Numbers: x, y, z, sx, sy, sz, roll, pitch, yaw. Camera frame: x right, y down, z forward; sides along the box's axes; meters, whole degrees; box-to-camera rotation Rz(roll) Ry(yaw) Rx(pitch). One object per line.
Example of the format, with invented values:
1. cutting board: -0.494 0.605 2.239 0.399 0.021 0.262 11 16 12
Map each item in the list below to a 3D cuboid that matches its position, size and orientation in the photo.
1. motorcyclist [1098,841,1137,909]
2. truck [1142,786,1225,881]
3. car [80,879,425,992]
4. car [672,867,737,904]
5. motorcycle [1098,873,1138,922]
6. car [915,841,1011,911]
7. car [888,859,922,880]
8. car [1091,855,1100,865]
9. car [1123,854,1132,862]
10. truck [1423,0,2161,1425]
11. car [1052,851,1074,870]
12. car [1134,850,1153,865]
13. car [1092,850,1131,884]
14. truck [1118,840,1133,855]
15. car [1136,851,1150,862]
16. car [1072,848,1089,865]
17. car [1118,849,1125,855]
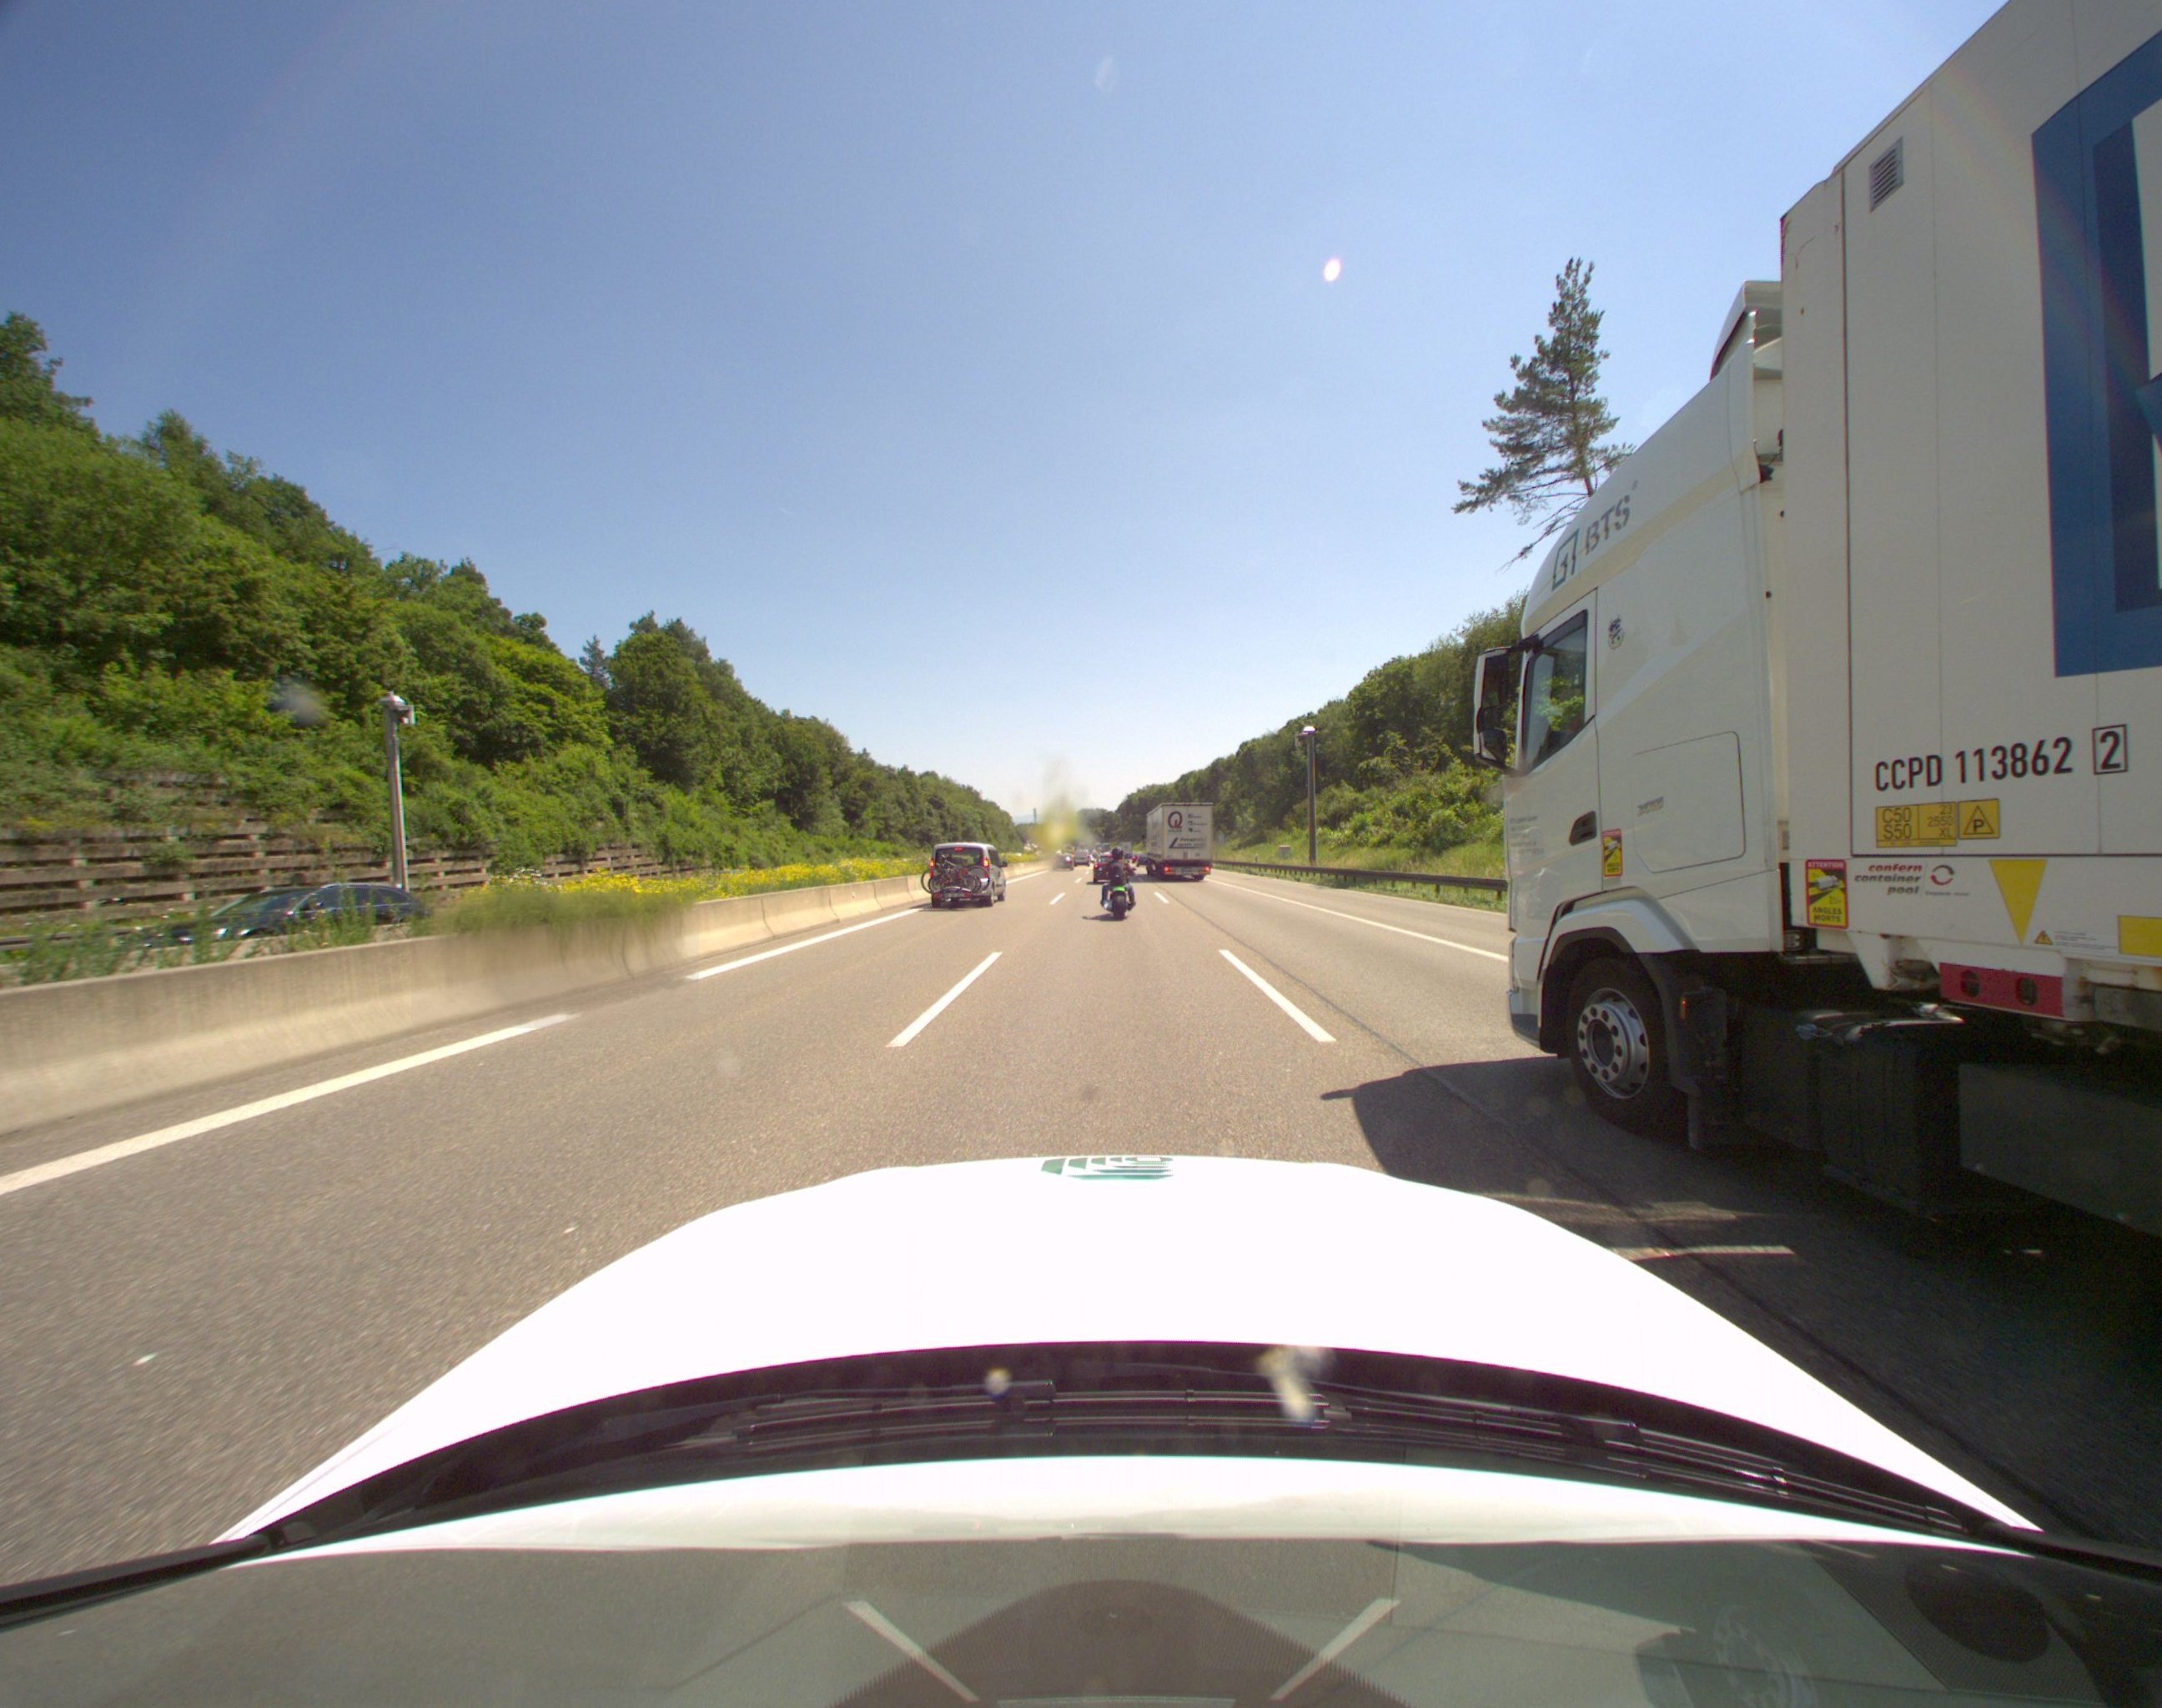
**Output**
1. motorcyclist: 0.839 0.478 18.818 0.852 1.515 0.914 -1 0 2
2. truck: 5.800 -1.178 49.555 3.370 4.717 17.718 1 1 2
3. car: -14.438 1.312 14.625 1.782 1.522 4.204 -2 0 1
4. car: -17.389 1.442 37.722 1.434 1.522 3.154 -2 0 1
5. motorcycle: 0.852 0.974 18.854 0.859 0.982 2.132 -1 0 3
6. car: -3.355 0.544 24.275 1.891 1.847 5.485 0 1 2
7. car: -15.829 1.398 73.341 1.803 1.807 4.505 1 -1 3
8. car: 2.995 1.208 166.941 1.824 1.810 4.122 0 1 1
9. car: 9.420 0.744 165.465 1.824 1.558 4.122 0 1 1
10. truck: 3.910 -0.645 1.270 2.669 4.059 10.632 0 1 2
11. car: -1.559 0.573 72.048 1.751 1.543 4.397 0 1 1
12. car: 6.656 0.352 86.773 1.824 1.558 4.122 0 1 1
13. car: 1.510 0.604 40.782 1.838 1.557 4.441 0 1 1
14. truck: 10.175 -1.451 187.431 3.056 3.346 9.657 1 1 2
15. car: 8.780 0.346 115.747 1.824 1.558 4.122 0 1 1
16. car: 0.003 0.298 94.389 1.824 1.810 4.122 0 1 1
17. car: 12.030 -0.637 242.745 1.824 1.558 4.122 0 1 1
